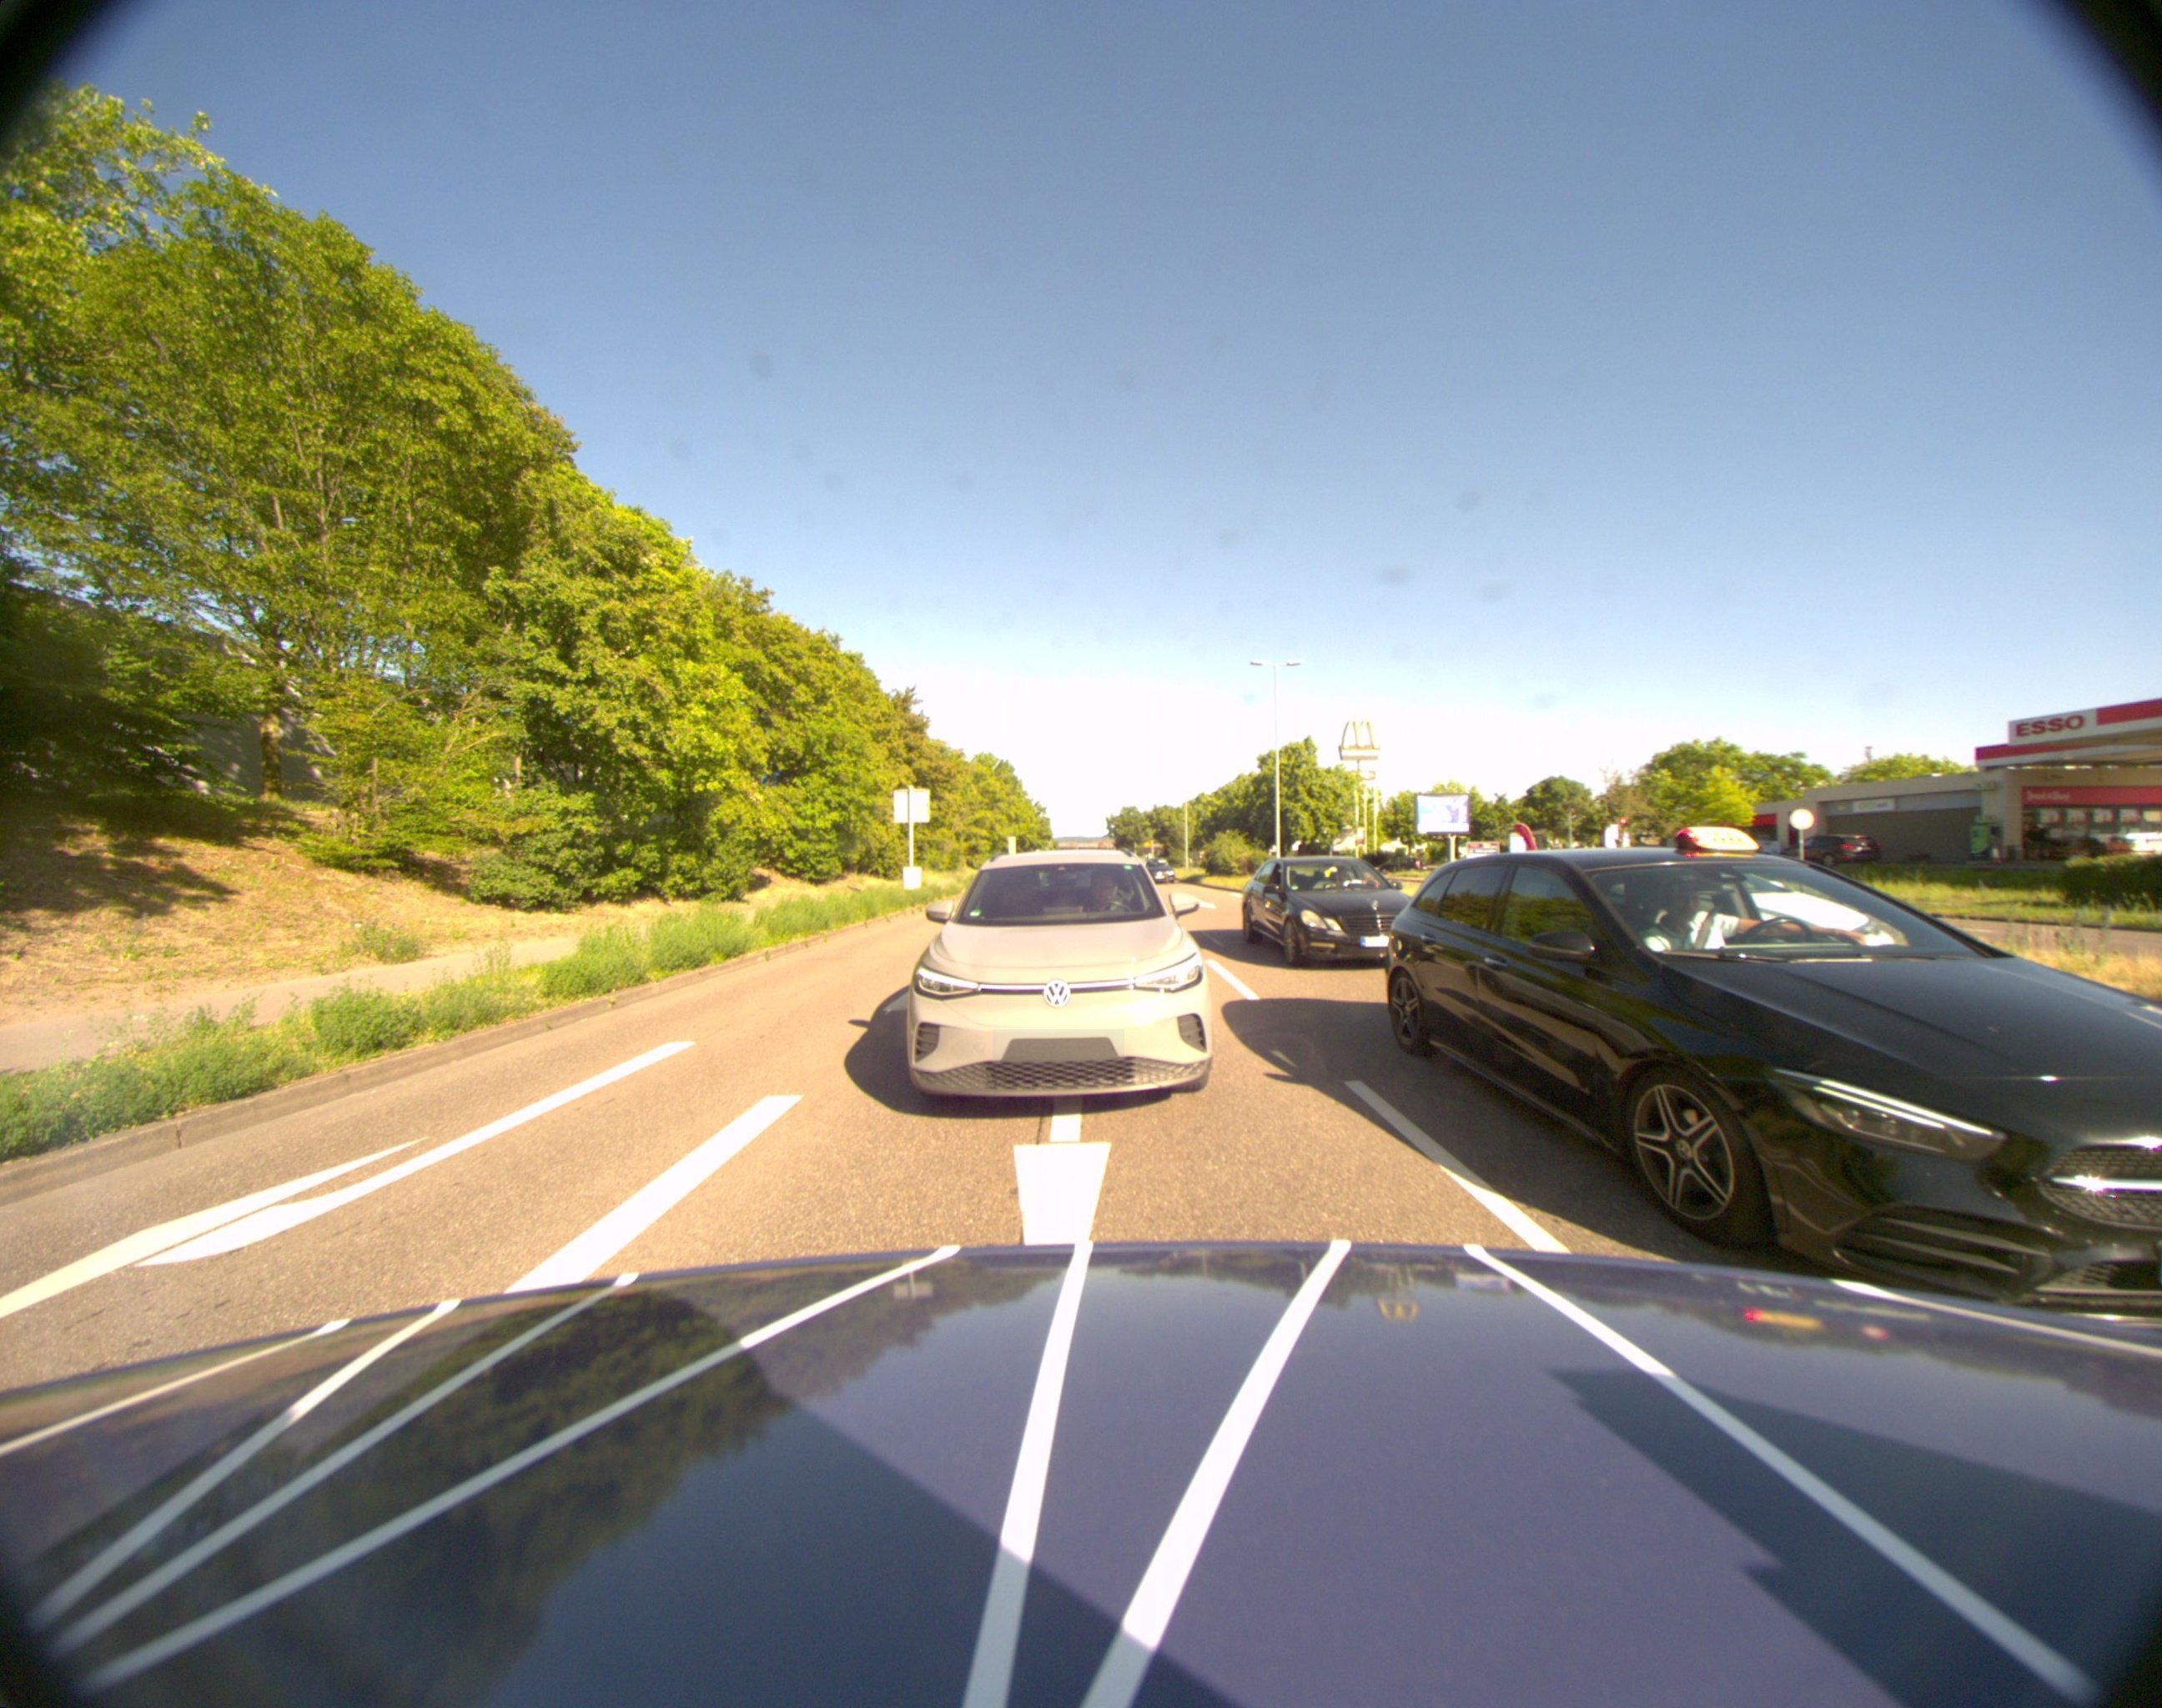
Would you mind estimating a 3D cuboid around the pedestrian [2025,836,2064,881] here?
[{"bbox_3d":[43.231,0.204,34.092,0.703,2.002,0.840,-1,1,1],"label":"pedestrian"}]

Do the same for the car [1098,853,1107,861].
[{"bbox_3d":[4.800,0.657,169.858,1.862,1.578,4.403,-1,0,1],"label":"car"}]

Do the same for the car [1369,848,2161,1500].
[{"bbox_3d":[3.168,0.804,3.981,1.804,1.616,4.188,-1,0,2],"label":"car"}]

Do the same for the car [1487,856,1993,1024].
[{"bbox_3d":[7.010,0.754,8.886,1.863,1.421,4.401,-1,0,-5],"label":"car"}]

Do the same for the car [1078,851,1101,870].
[{"bbox_3d":[0.889,0.619,79.062,2.289,1.863,5.268,-1,0,1],"label":"car"}]

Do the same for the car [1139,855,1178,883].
[{"bbox_3d":[4.419,0.818,43.854,1.862,1.472,4.403,-1,0,1],"label":"car"}]

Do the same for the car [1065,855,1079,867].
[{"bbox_3d":[-1.198,1.010,106.706,1.862,1.578,4.403,-1,0,1],"label":"car"}]

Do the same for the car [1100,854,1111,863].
[{"bbox_3d":[4.366,0.755,136.563,1.862,1.578,4.403,-1,0,1],"label":"car"}]

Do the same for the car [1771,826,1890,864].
[{"bbox_3d":[37.405,-0.406,38.083,1.998,1.759,4.118,-1,0,2],"label":"car"}]

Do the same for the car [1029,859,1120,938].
[{"bbox_3d":[-0.109,0.894,16.959,1.765,1.503,3.760,-2,0,1],"label":"car"}]

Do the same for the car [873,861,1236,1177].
[{"bbox_3d":[-0.114,0.894,5.983,1.871,1.588,3.932,-2,0,1],"label":"car"}]

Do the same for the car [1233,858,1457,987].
[{"bbox_3d":[3.649,0.845,11.416,1.862,1.515,4.403,-1,0,1],"label":"car"}]
